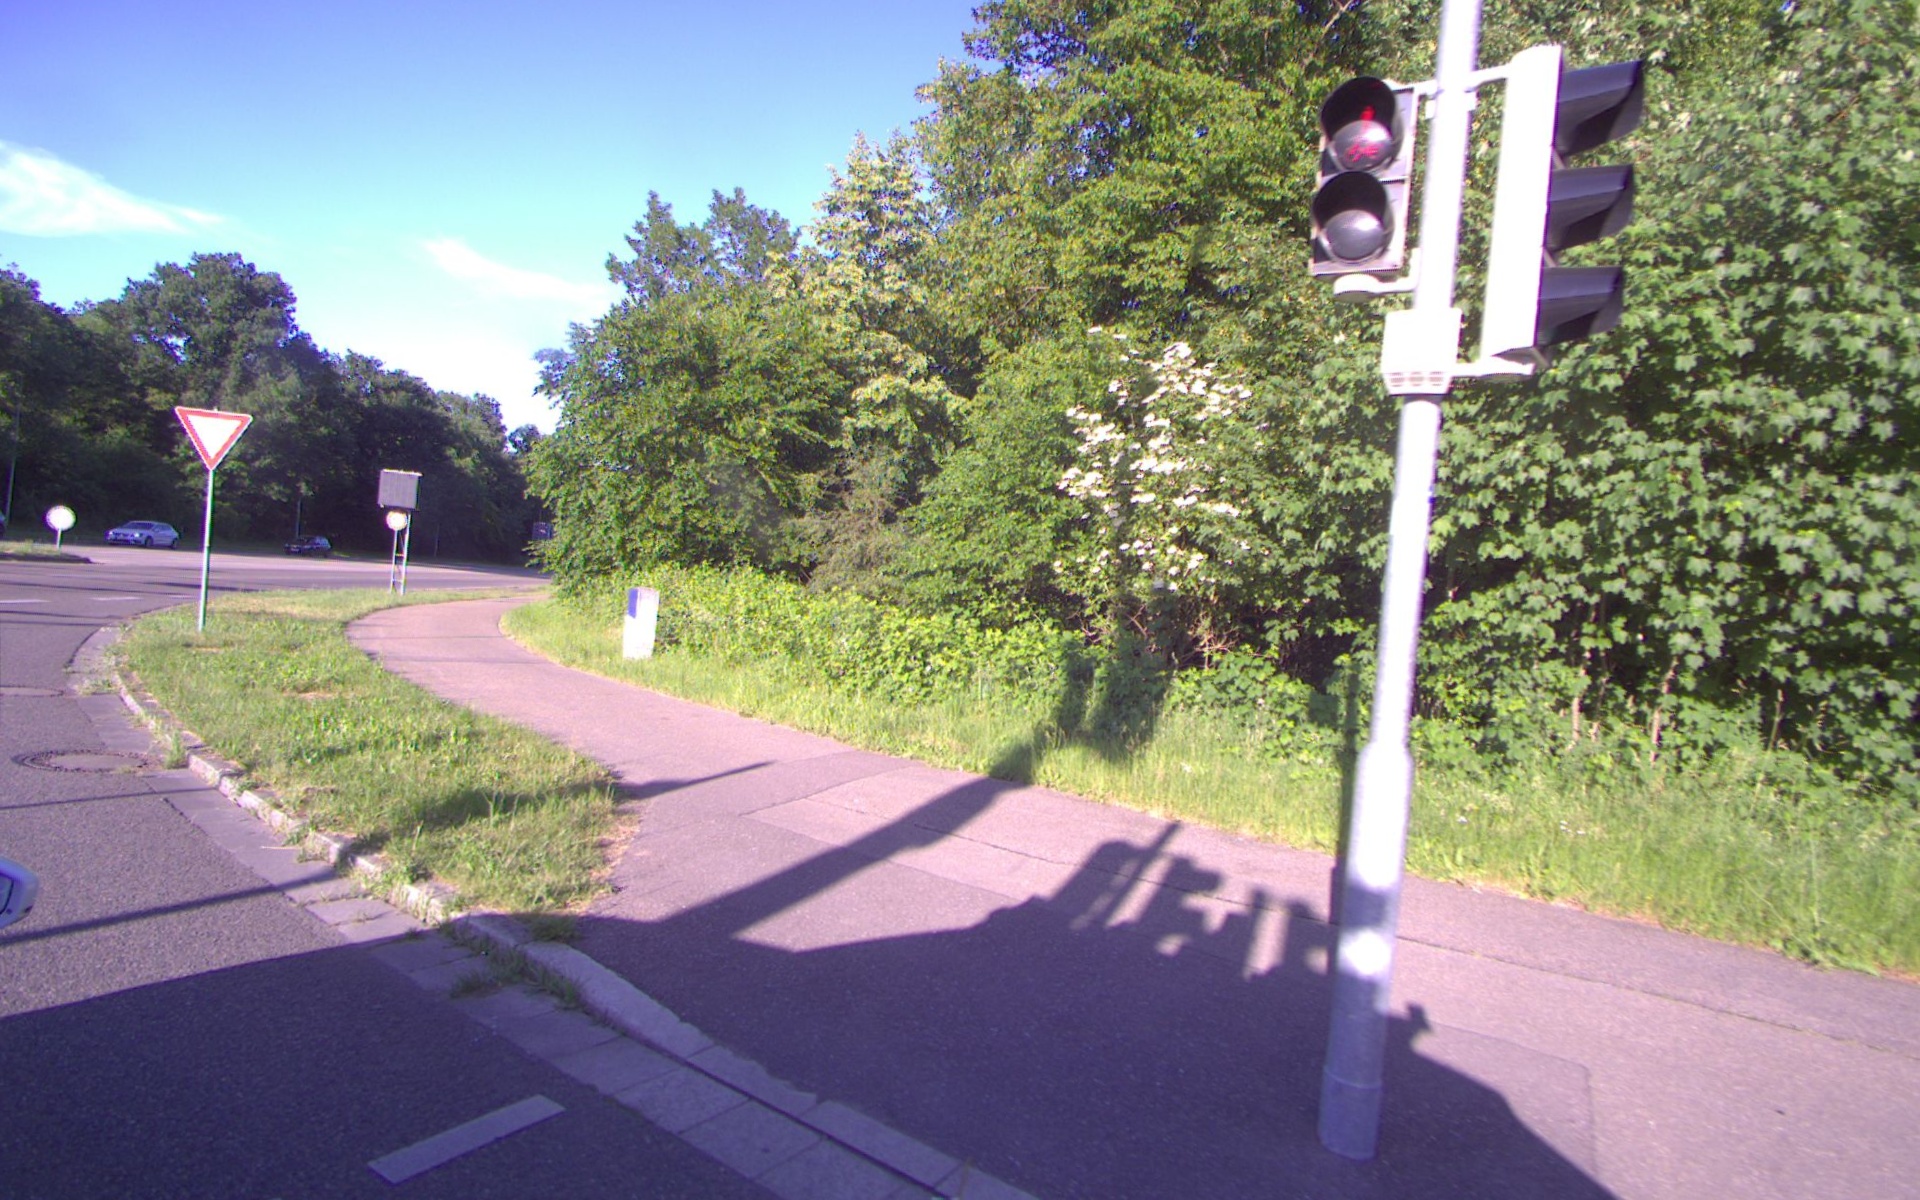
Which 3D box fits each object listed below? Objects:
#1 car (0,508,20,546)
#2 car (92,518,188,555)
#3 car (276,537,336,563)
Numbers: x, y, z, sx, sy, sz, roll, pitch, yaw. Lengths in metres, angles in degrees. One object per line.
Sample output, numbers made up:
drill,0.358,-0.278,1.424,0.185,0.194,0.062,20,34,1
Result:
car,-41.255,-3.203,41.123,1.967,1.548,4.640,6,0,-13
car,-44.376,-3.410,54.578,1.966,1.548,4.642,6,0,-11
car,-47.727,-3.626,73.526,1.966,1.548,4.642,6,0,-11
